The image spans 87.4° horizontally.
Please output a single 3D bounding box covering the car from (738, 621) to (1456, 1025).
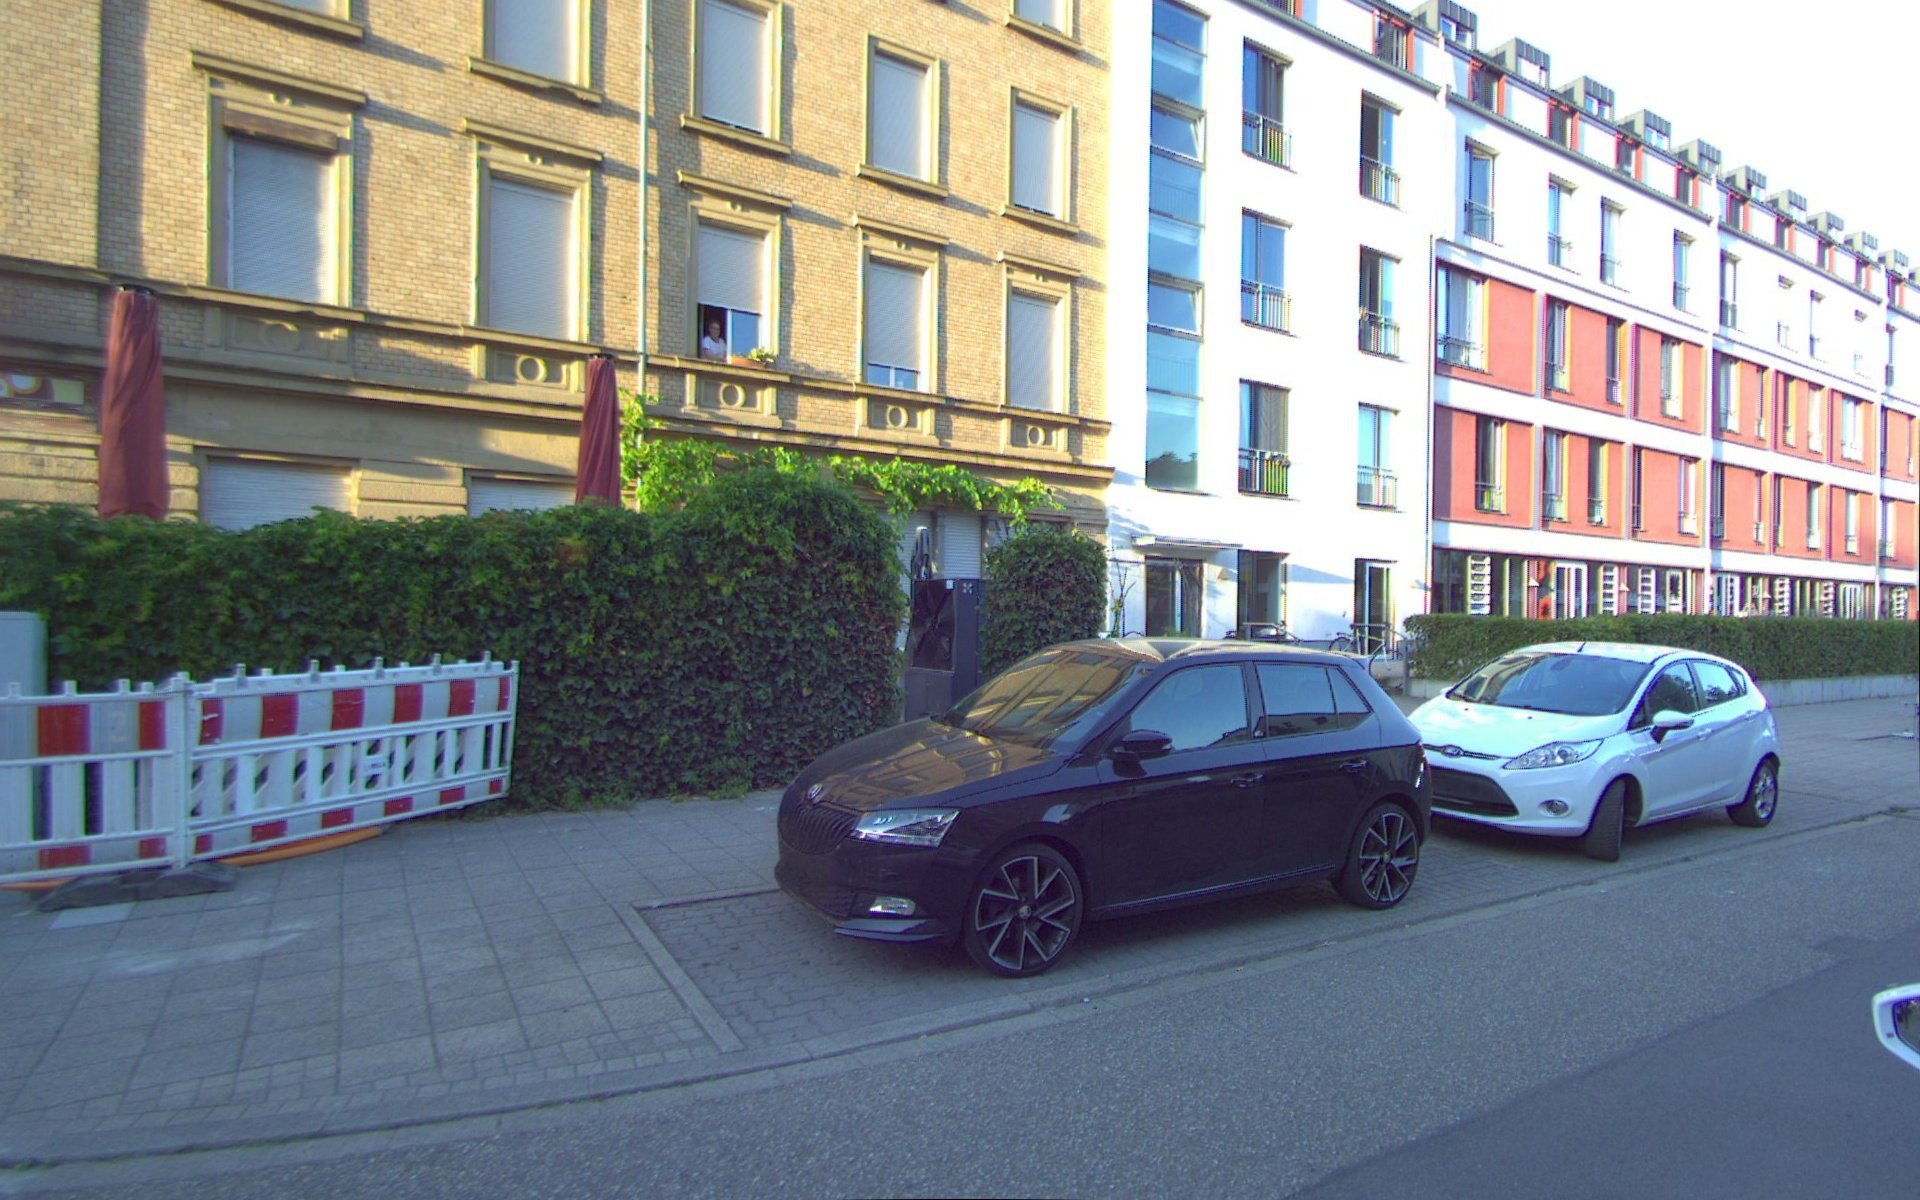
[{"bbox_3d":[0.865,0.933,5.672,3.800,1.554,1.695,1,0,-31],"label":"car"}]

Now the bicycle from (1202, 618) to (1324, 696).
[{"bbox_3d":[5.019,0.912,16.753,0.802,1.157,1.906,1,1,-30],"label":"bicycle"}]

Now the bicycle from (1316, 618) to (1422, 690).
[{"bbox_3d":[7.294,0.943,17.998,0.603,1.163,1.768,1,1,-28],"label":"bicycle"}]

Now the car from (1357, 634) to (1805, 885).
[{"bbox_3d":[5.196,1.087,8.246,3.975,1.550,1.640,1,0,-34],"label":"car"}]
